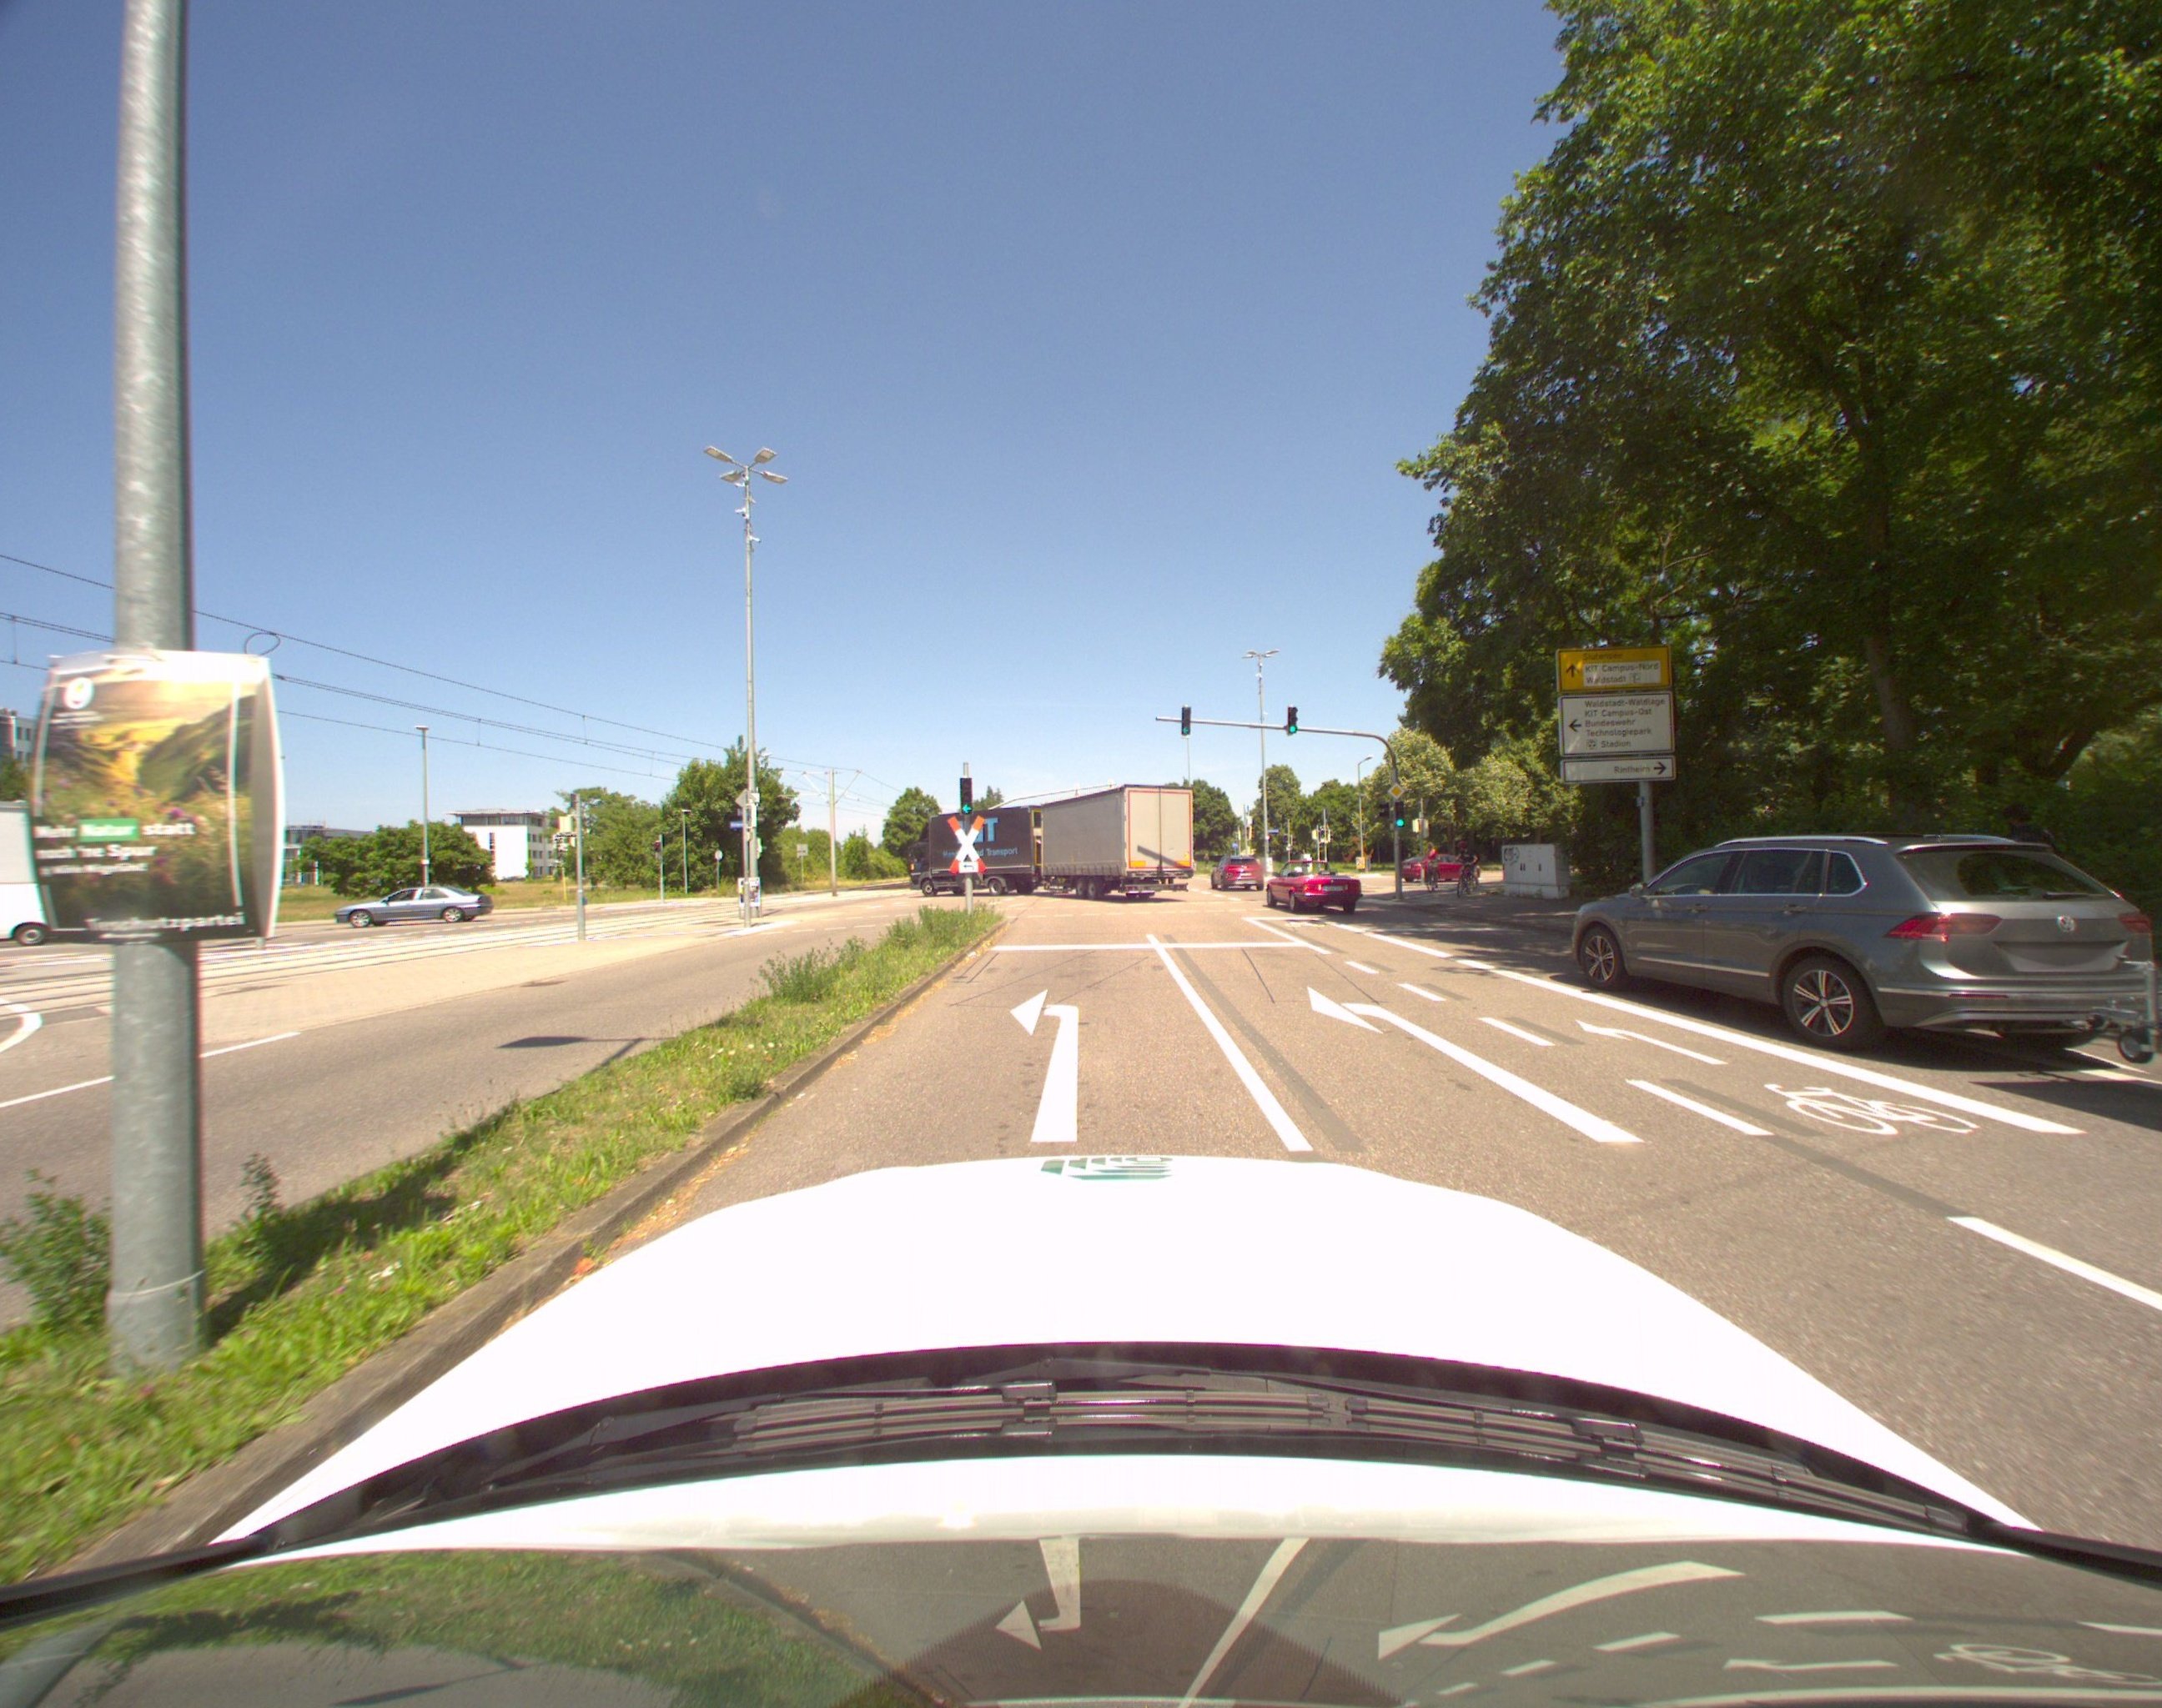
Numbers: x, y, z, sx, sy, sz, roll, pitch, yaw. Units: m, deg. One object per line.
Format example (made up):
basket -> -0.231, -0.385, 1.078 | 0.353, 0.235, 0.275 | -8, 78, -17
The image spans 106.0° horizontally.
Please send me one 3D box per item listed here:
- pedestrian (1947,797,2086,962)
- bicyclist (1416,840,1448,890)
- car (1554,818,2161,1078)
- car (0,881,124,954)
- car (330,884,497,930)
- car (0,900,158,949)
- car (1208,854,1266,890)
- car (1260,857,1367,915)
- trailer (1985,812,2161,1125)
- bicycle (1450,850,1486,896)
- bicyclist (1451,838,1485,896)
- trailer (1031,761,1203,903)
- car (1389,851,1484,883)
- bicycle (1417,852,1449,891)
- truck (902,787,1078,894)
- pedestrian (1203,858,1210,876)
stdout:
pedestrian -> 10.861, 0.285, 9.480 | 0.750, 1.816, 0.693 | -3, 0, -1
bicyclist -> 12.398, 0.389, 28.812 | 0.797, 1.727, 0.681 | -4, -1, 11
car -> 6.454, 0.606, 7.431 | 1.694, 1.654, 4.397 | 0, 0, 0
car -> -33.826, 2.003, 25.381 | 4.763, 2.111, 1.980 | -1, 0, -31
car -> -24.777, 1.943, 30.441 | 4.435, 1.372, 1.884 | -1, 0, -24
car -> -35.314, 2.417, 27.933 | 4.431, 1.372, 1.886 | -1, 0, -20
car -> 6.985, 0.773, 36.760 | 1.852, 1.549, 3.886 | 0, 0, -1
car -> 6.139, 0.797, 21.993 | 1.650, 1.396, 4.266 | 0, 0, 0
trailer -> 6.494, 0.606, 3.759 | 1.464, 1.669, 2.855 | 0, 0, -1
bicycle -> 11.802, 0.562, 24.825 | 0.717, 1.295, 1.313 | -5, -1, 34
bicyclist -> 11.798, 0.381, 24.814 | 0.717, 1.703, 0.683 | -5, -1, 34
trailer -> 0.962, -0.666, 29.985 | 2.839, 4.421, 8.682 | 0, 0, -23
car -> 18.644, 0.673, 42.728 | 4.505, 1.503, 1.986 | -2, 0, -22
bicycle -> 12.395, 0.601, 28.698 | 0.640, 1.304, 1.631 | -4, -1, 12
truck -> -4.283, -0.406, 36.898 | 8.176, 4.345, 2.854 | -3, -2, 38
pedestrian -> 14.183, 1.430, 92.264 | 0.740, 2.014, 0.613 | 0, 0, 1
